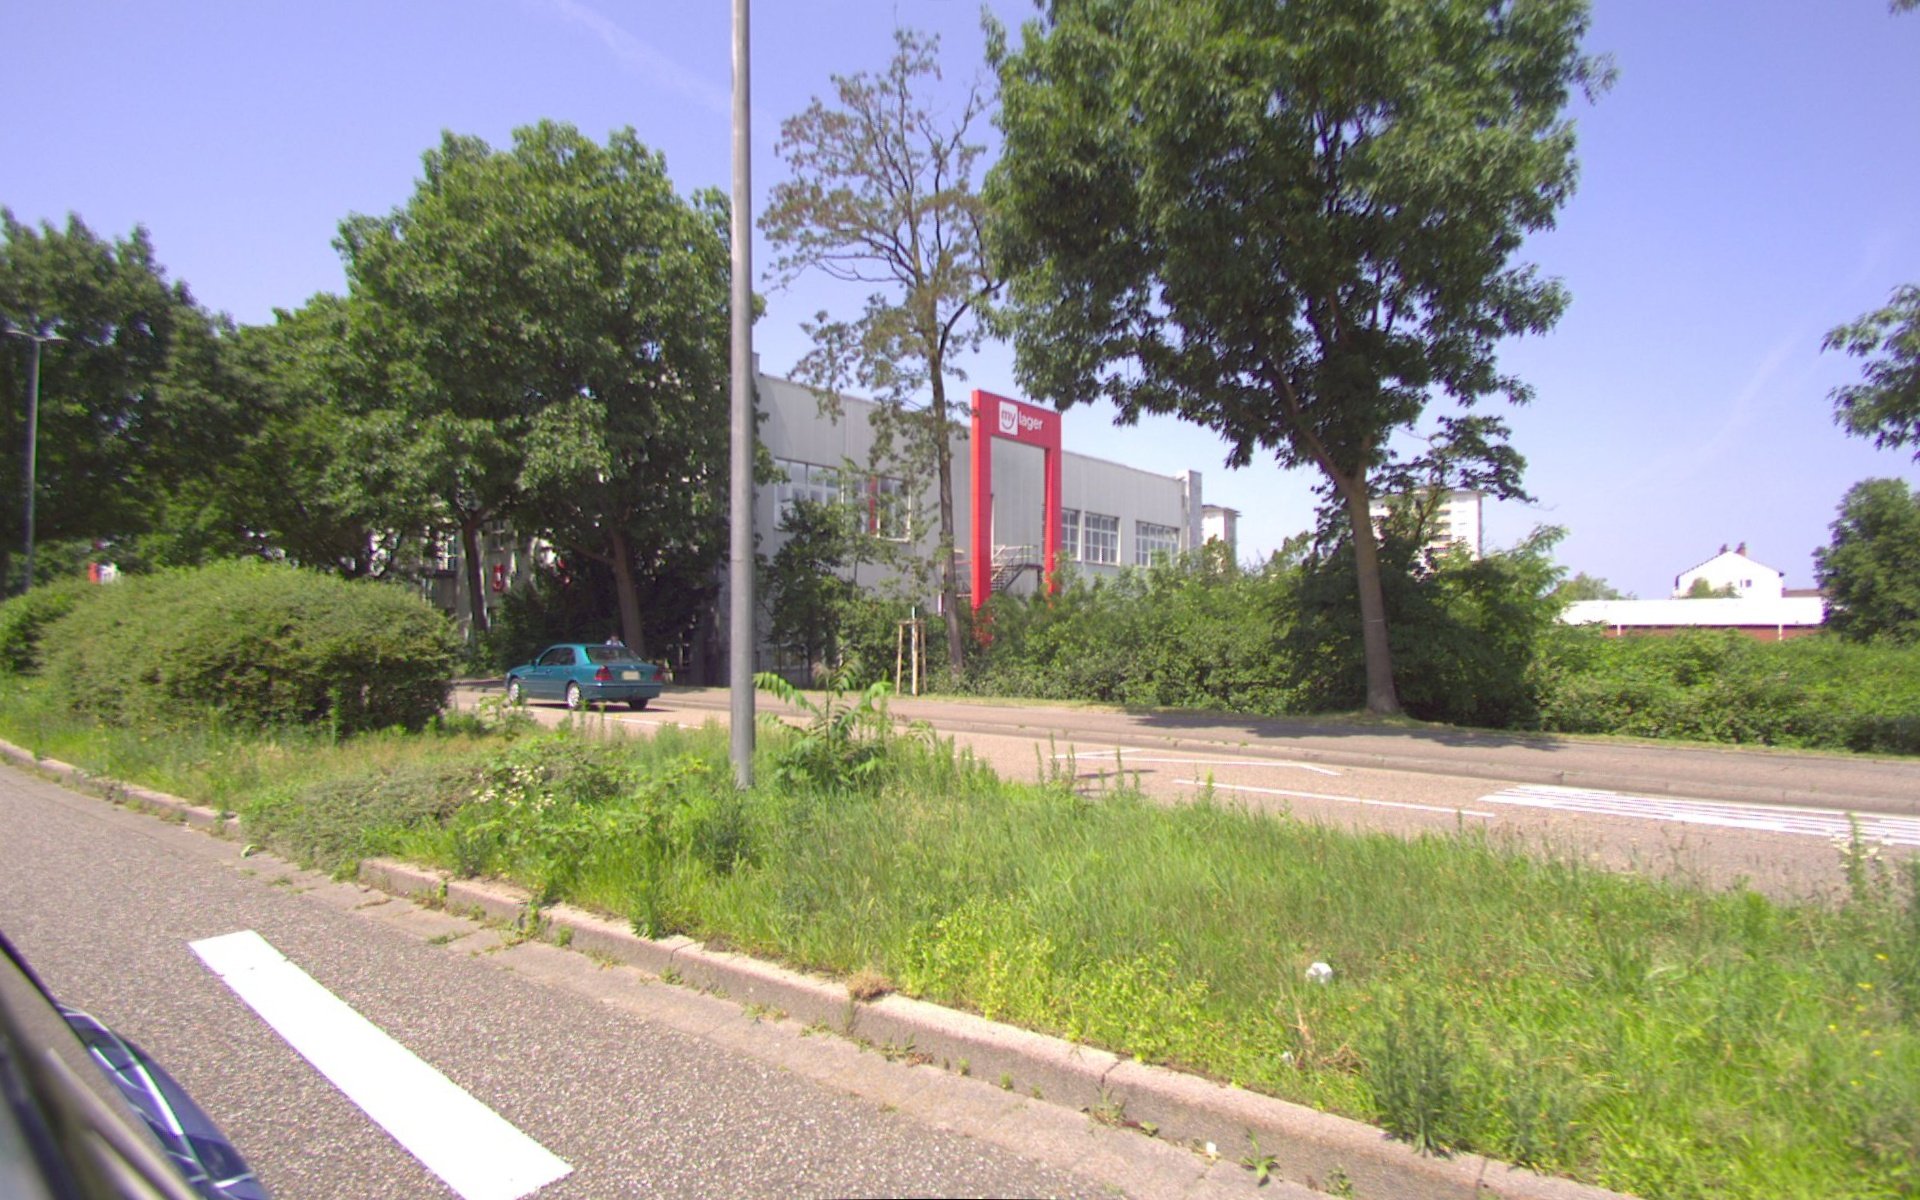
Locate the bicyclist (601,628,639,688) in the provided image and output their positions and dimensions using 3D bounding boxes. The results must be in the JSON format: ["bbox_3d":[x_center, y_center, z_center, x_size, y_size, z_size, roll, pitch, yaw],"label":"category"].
[{"bbox_3d":[-9.435,1.601,28.110,0.923,1.643,0.601,-2,-3,42],"label":"bicyclist"}]

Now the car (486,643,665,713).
[{"bbox_3d":[-8.607,1.685,22.449,4.584,1.398,1.668,-2,-5,41],"label":"car"}]
